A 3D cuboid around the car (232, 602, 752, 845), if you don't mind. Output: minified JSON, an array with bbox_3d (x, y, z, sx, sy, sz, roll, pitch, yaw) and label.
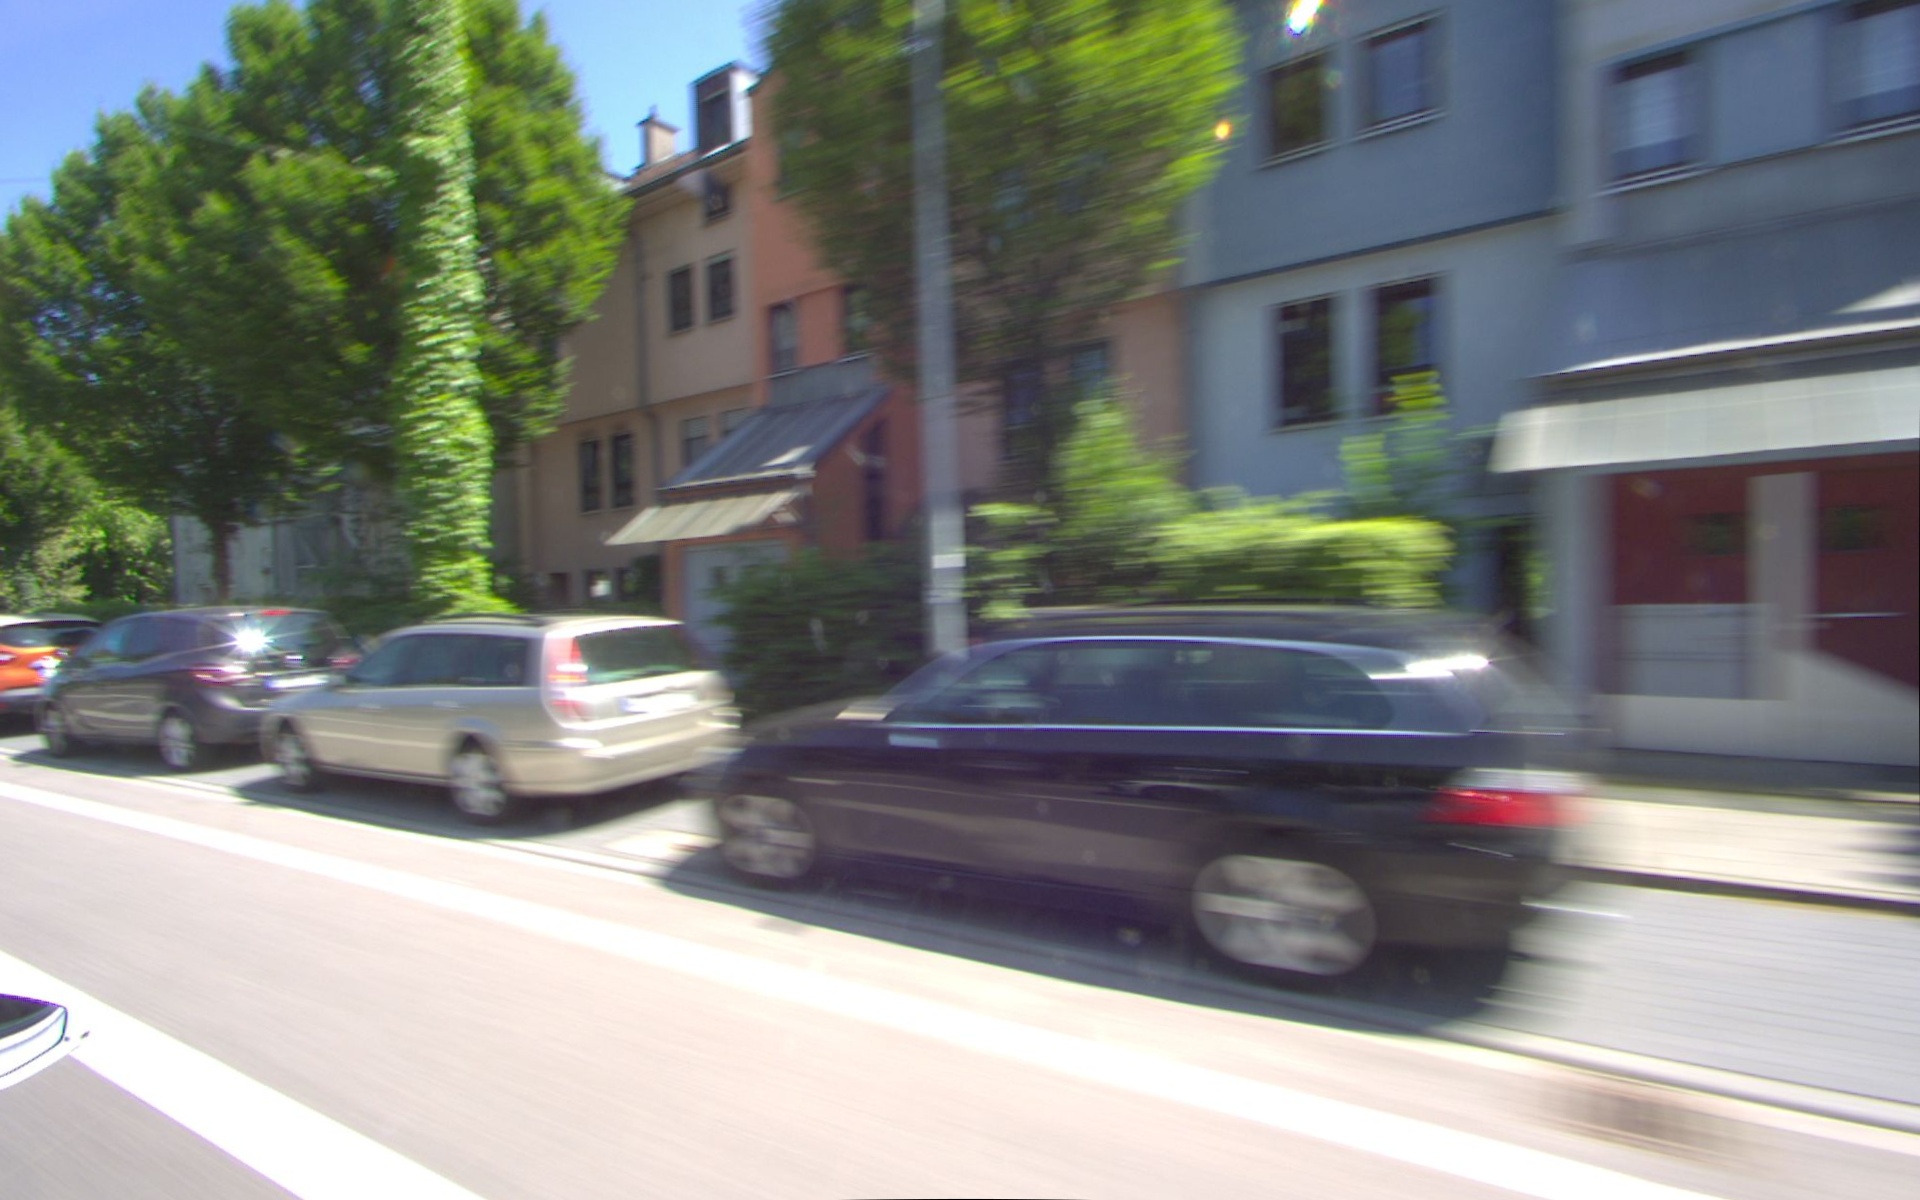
[{"bbox_3d":[-4.125,0.846,8.561,4.663,1.513,1.702,-1,3,32],"label":"car"}]

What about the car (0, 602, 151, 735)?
[{"bbox_3d":[-13.696,0.903,14.356,4.258,1.584,1.703,-1,3,29],"label":"car"}]

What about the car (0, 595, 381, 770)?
[{"bbox_3d":[-8.715,0.819,11.277,4.256,1.584,1.704,-1,3,27],"label":"car"}]

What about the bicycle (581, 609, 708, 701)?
[{"bbox_3d":[-4.363,0.733,13.945,0.509,1.155,1.638,0,2,40],"label":"bicycle"}]

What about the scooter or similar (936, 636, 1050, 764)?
[{"bbox_3d":[0.270,0.839,8.699,0.331,1.045,1.073,1,-2,-42],"label":"scooter or similar"}]

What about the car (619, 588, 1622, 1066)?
[{"bbox_3d":[0.540,0.774,5.361,4.967,1.513,1.702,-1,3,33],"label":"car"}]
